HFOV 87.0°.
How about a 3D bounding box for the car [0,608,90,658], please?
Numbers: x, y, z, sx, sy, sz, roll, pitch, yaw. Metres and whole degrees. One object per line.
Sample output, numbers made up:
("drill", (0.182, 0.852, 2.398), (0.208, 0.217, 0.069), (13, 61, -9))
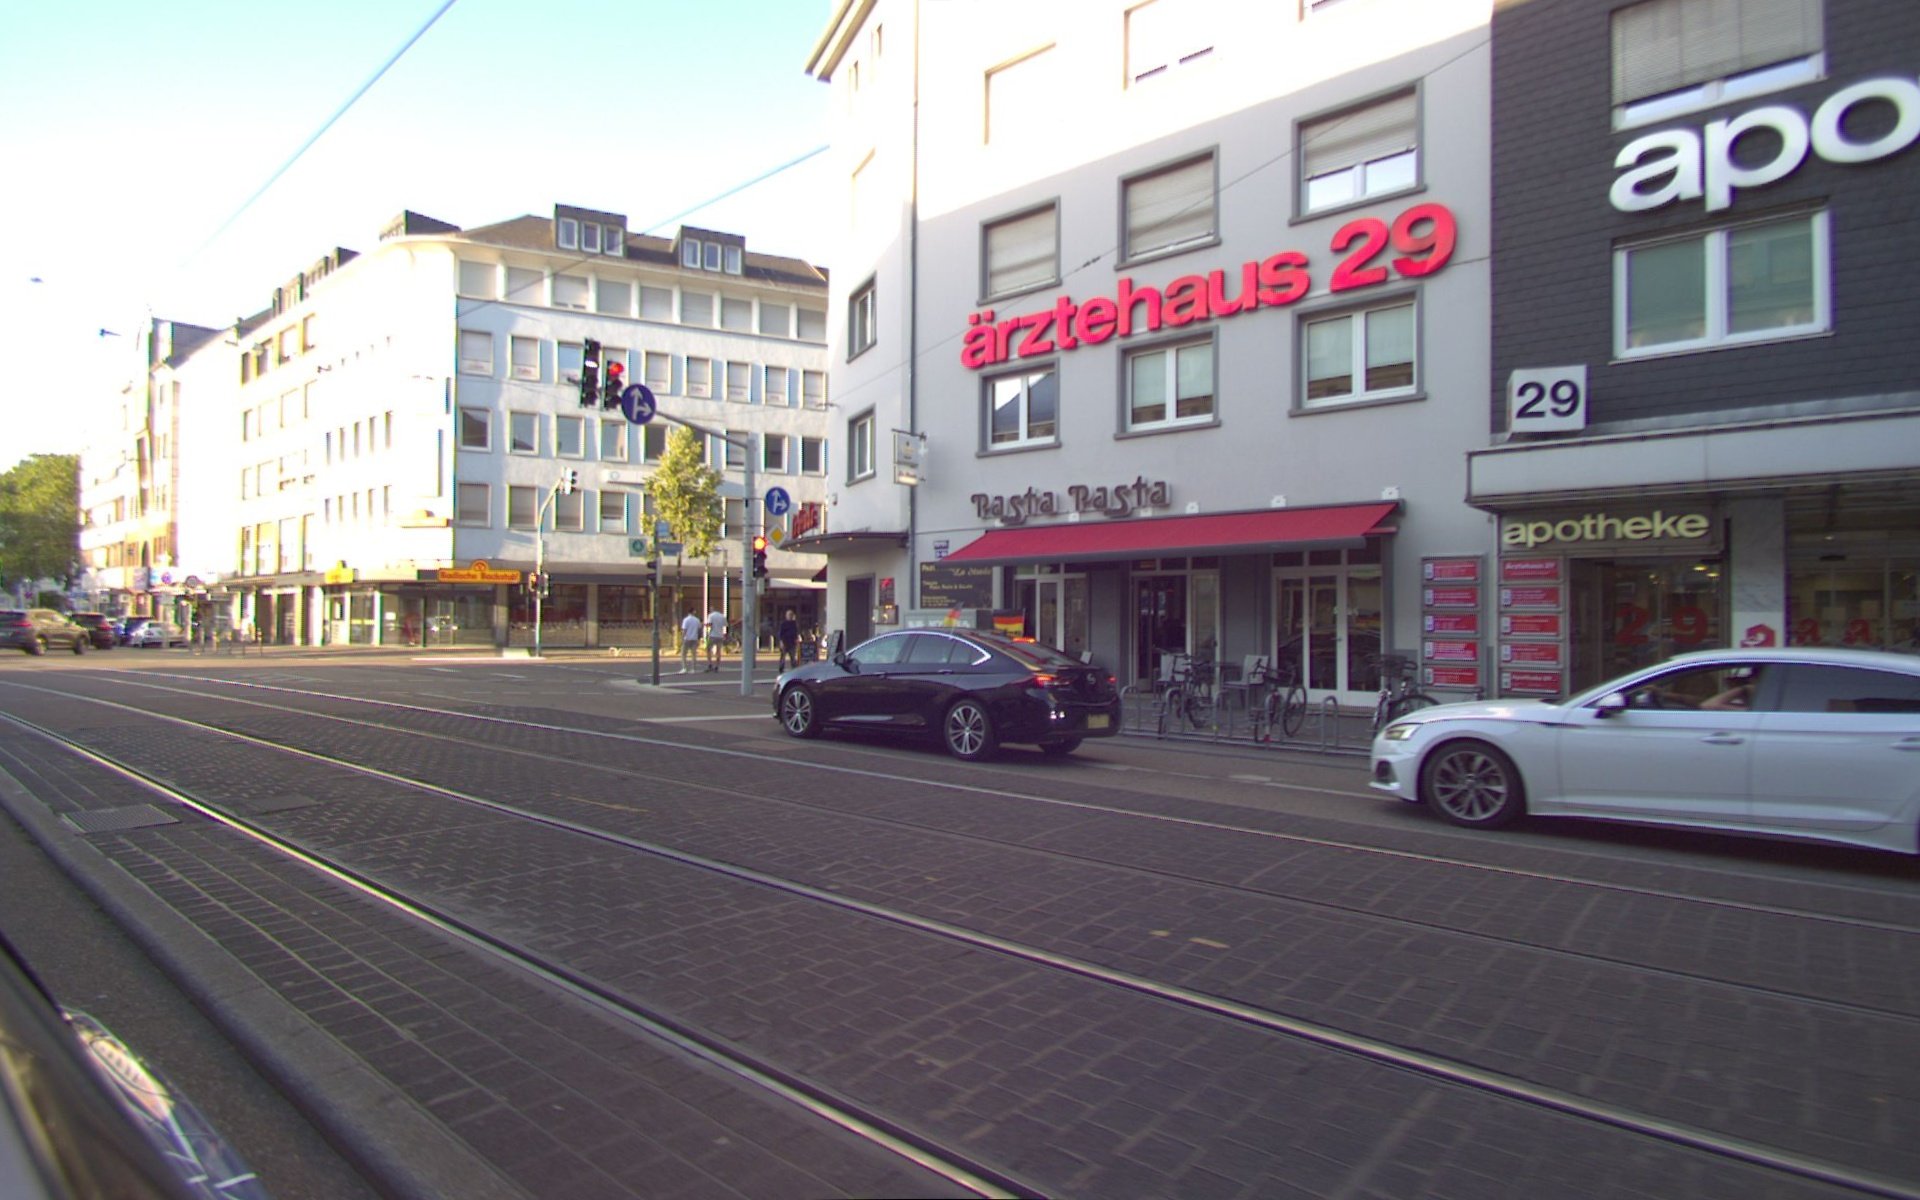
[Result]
("car", (-33.811, 1.189, 36.618), (1.798, 1.711, 4.271), (0, -2, -14))

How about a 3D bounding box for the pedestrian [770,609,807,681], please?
("pedestrian", (-4.138, 1.070, 24.376), (0.701, 1.689, 0.705), (1, -1, -25))

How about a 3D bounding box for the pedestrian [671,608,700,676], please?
("pedestrian", (-7.226, 1.085, 26.626), (0.627, 1.758, 0.671), (1, -1, -25))

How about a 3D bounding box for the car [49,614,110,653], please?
("car", (-40.162, 1.495, 46.107), (1.780, 1.711, 4.571), (1, -2, -45))

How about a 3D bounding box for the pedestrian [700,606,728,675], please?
("pedestrian", (-6.533, 1.068, 26.883), (0.627, 1.792, 0.602), (0, -1, -23))

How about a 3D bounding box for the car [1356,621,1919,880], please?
("car", (5.489, 0.933, 7.147), (4.652, 1.464, 1.973), (-1, -3, 40))

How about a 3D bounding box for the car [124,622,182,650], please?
("car", (-40.061, 1.773, 50.219), (3.387, 1.263, 1.615), (-2, 0, 41))

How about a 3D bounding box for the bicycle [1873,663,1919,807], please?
("bicycle", (8.500, 1.154, 8.986), (0.489, 1.055, 1.812), (-3, -1, 40))

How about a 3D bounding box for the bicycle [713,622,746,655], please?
("bicycle", (-9.515, 1.571, 41.652), (0.629, 1.262, 2.382), (1, 0, -30))

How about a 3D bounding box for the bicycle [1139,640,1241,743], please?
("bicycle", (3.187, 1.209, 13.907), (0.553, 1.220, 1.871), (-1, 0, 40))

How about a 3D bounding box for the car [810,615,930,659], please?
("car", (-3.360, 1.406, 37.718), (3.943, 1.568, 2.121), (1, -3, -24))

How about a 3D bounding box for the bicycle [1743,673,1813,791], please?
("bicycle", (8.036, 1.243, 9.919), (0.455, 0.919, 1.786), (-3, -1, 40))

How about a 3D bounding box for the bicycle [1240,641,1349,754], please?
("bicycle", (4.319, 1.193, 12.965), (0.553, 1.233, 2.090), (-1, 0, 40))

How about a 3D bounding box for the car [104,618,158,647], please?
("car", (-43.491, 1.701, 53.057), (3.387, 1.364, 1.615), (-2, 0, 41))

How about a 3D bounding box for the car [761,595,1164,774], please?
("car", (-0.127, 0.898, 12.163), (4.726, 1.740, 1.972), (-1, -4, 42))

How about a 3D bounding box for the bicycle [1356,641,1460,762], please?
("bicycle", (5.437, 1.168, 12.211), (0.553, 1.233, 2.090), (-1, 0, 40))

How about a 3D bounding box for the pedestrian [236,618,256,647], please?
("pedestrian", (-36.958, 1.668, 52.398), (0.621, 1.483, 0.539), (-2, 1, 25))
